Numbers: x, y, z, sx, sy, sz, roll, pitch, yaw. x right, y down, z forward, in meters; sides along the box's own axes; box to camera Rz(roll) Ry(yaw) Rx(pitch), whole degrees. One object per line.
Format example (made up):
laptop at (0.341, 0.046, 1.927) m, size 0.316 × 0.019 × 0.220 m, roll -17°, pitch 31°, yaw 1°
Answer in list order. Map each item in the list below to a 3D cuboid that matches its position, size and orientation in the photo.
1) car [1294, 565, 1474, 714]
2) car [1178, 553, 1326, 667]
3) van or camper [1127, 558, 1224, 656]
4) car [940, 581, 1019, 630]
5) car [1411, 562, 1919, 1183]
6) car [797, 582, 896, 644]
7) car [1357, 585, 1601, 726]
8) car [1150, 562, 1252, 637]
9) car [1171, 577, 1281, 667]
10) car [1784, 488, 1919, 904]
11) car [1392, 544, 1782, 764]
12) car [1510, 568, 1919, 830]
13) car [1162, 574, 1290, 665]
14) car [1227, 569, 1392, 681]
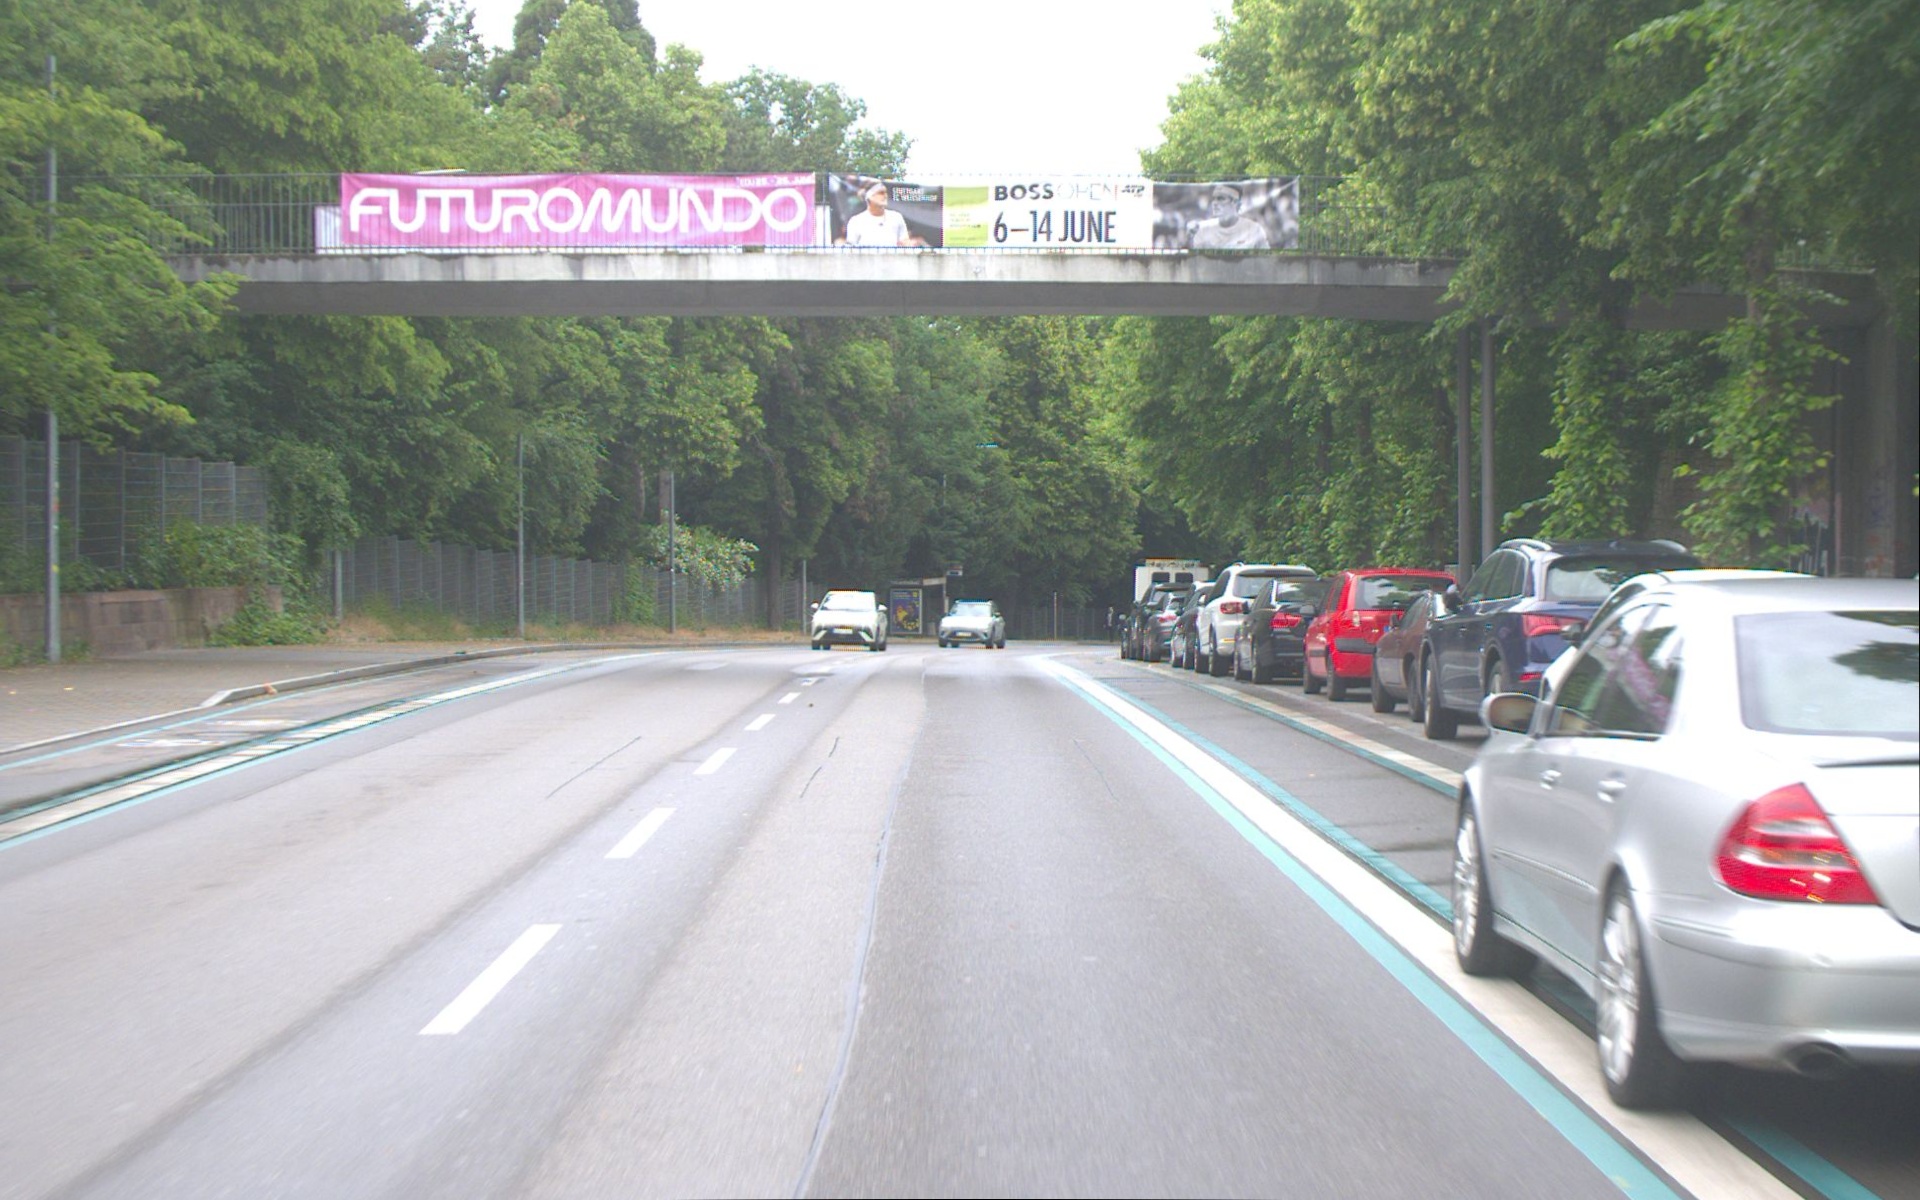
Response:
car at (4.782, 0.413, 39.143) m, size 1.559 × 1.461 × 3.626 m, roll 1°, pitch 3°, yaw 0°
car at (4.337, 0.165, 51.595) m, size 1.713 × 1.613 × 4.261 m, roll 1°, pitch 0°, yaw -2°
van or camper at (6.213, 0.221, 98.435) m, size 2.317 × 2.656 × 6.380 m, roll 2°, pitch 0°, yaw 7°
car at (0.683, 0.203, 116.637) m, size 1.797 × 1.571 × 4.099 m, roll 1°, pitch -1°, yaw 13°
car at (2.562, 0.622, 10.344) m, size 1.721 × 1.393 × 4.591 m, roll 1°, pitch 1°, yaw -1°
car at (-2.941, 0.328, 89.617) m, size 1.972 × 1.547 × 3.869 m, roll 1°, pitch 0°, yaw 7°
car at (4.951, 0.496, 33.303) m, size 1.625 × 1.186 × 4.184 m, roll 1°, pitch 1°, yaw -1°
car at (4.689, 0.015, 67.279) m, size 1.775 × 1.344 × 4.466 m, roll 2°, pitch -1°, yaw 2°
car at (4.800, 0.402, 62.493) m, size 1.661 × 1.530 × 3.741 m, roll 2°, pitch -1°, yaw 0°
car at (4.993, 0.423, 14.930) m, size 1.722 × 1.784 × 4.346 m, roll 1°, pitch 1°, yaw 0°
car at (4.867, 0.359, 27.413) m, size 1.993 × 1.555 × 4.643 m, roll 1°, pitch 1°, yaw -3°
car at (4.721, 0.546, 22.035) m, size 1.660 × 1.421 × 4.618 m, roll 1°, pitch 1°, yaw 0°
car at (4.387, 0.357, 57.248) m, size 1.718 × 1.371 × 4.558 m, roll 1°, pitch -2°, yaw -1°
car at (4.603, 0.356, 45.810) m, size 1.672 × 1.389 × 4.450 m, roll 1°, pitch -1°, yaw -1°
